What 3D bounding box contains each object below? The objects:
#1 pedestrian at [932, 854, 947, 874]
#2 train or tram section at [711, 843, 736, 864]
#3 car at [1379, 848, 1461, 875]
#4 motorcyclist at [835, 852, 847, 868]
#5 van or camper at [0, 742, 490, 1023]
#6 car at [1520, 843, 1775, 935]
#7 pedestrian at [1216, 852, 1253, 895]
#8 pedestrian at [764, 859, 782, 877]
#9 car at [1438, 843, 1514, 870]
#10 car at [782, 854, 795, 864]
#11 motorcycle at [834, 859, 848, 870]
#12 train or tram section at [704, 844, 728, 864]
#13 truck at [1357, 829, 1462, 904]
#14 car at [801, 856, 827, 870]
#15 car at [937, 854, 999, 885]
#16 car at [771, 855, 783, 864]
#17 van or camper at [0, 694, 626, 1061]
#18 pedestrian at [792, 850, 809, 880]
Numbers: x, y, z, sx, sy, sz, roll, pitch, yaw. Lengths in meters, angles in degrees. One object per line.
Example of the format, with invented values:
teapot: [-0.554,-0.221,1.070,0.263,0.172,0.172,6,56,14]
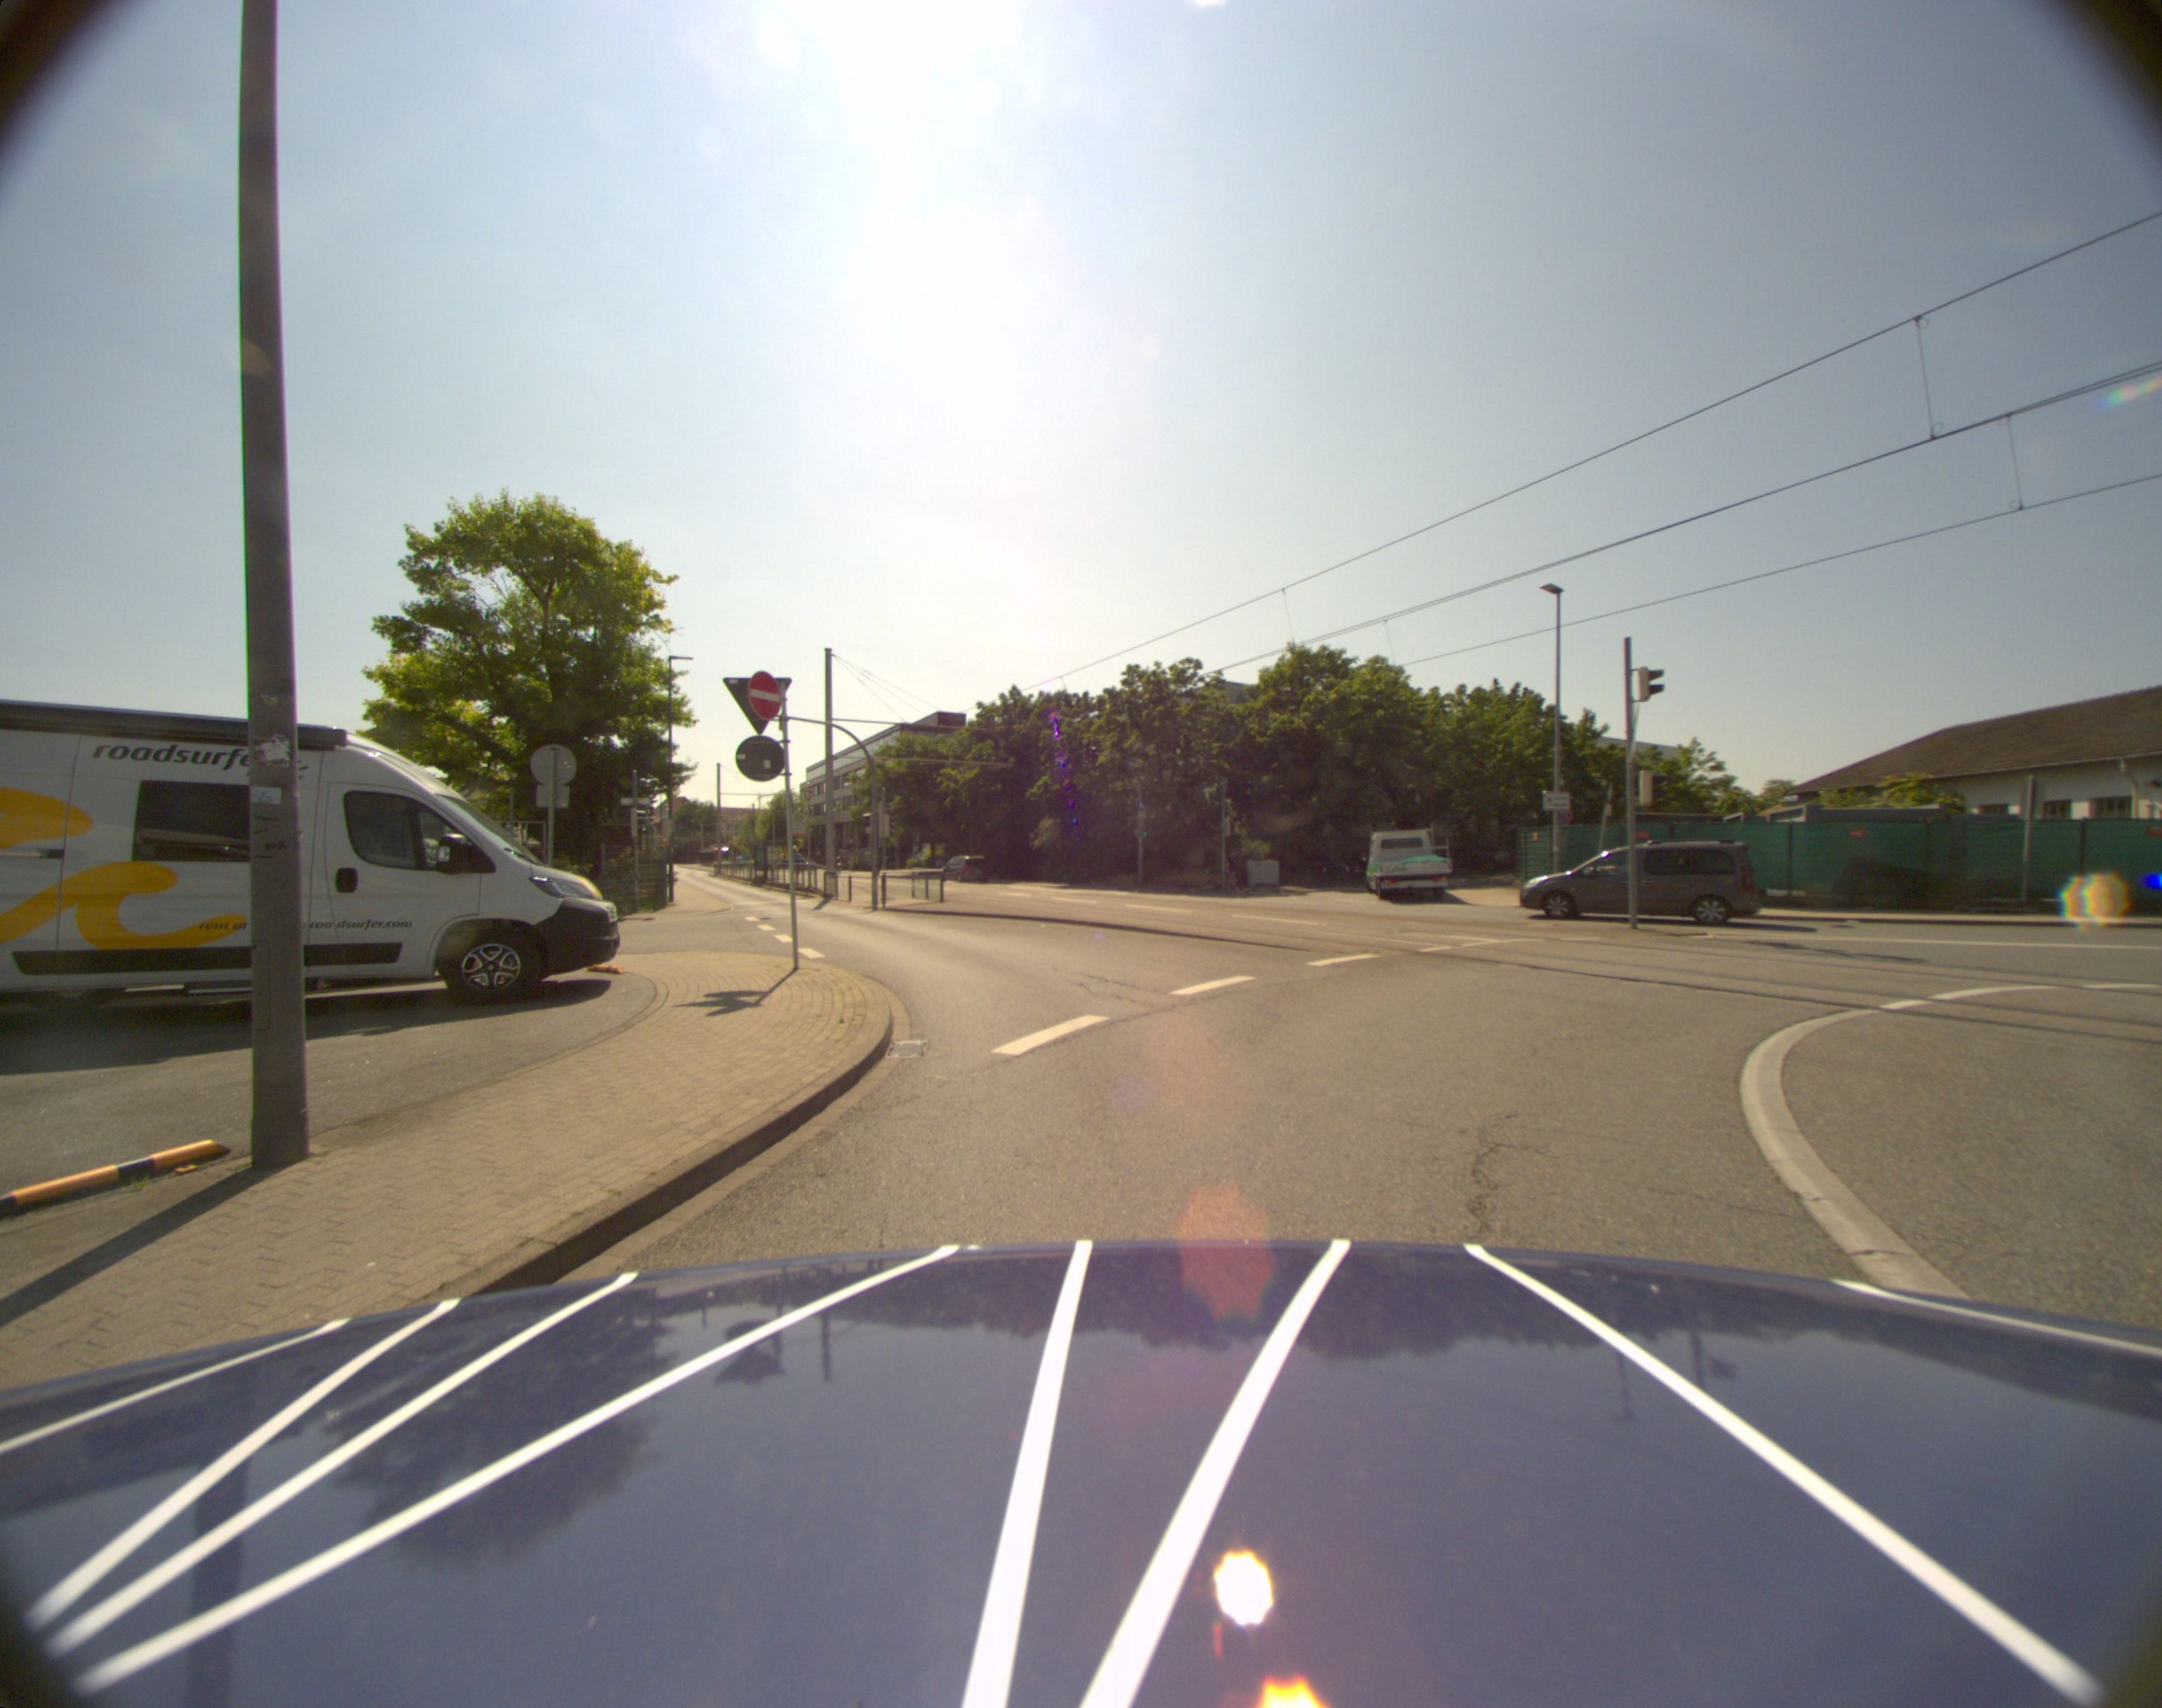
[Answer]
pedestrian: [-10.734,0.774,57.497,0.875,1.518,0.844,0,0,-32]
train or tram section: [-61.402,-0.051,130.378,2.687,3.464,12.297,0,0,-31]
car: [18.742,0.412,42.071,3.856,1.458,1.629,0,1,36]
motorcyclist: [-22.997,0.574,72.773,0.840,1.467,0.960,-1,1,-32]
van or camper: [-10.587,0.303,8.827,5.532,2.797,2.044,-1,-1,-26]
car: [12.608,0.686,17.093,4.396,1.808,1.994,0,1,44]
pedestrian: [6.422,0.798,31.805,0.890,1.661,1.157,-5,3,-31]
pedestrian: [-19.540,0.878,48.232,0.947,1.093,0.724,0,0,-31]
car: [24.447,0.150,47.078,1.629,1.628,3.856,-1,0,-36]
car: [-50.089,0.893,130.102,2.002,1.613,3.992,0,0,-24]
motorcycle: [-22.949,0.981,72.701,0.826,1.005,1.959,-1,1,-33]
train or tram section: [-67.980,-0.025,141.318,2.687,3.464,13.356,0,0,-31]
truck: [11.313,0.344,26.705,2.206,2.324,6.394,-1,1,13]
car: [-30.609,1.023,87.131,1.916,1.433,4.584,2,-1,-31]
car: [-6.849,0.907,45.624,1.937,1.574,4.180,3,0,-35]
car: [-54.552,0.961,136.171,1.875,1.608,3.992,0,0,-24]
van or camper: [-7.714,0.194,7.100,5.839,2.757,2.086,0,-1,-28]
pedestrian: [-16.506,0.659,44.647,0.727,1.715,0.942,-2,1,-31]
